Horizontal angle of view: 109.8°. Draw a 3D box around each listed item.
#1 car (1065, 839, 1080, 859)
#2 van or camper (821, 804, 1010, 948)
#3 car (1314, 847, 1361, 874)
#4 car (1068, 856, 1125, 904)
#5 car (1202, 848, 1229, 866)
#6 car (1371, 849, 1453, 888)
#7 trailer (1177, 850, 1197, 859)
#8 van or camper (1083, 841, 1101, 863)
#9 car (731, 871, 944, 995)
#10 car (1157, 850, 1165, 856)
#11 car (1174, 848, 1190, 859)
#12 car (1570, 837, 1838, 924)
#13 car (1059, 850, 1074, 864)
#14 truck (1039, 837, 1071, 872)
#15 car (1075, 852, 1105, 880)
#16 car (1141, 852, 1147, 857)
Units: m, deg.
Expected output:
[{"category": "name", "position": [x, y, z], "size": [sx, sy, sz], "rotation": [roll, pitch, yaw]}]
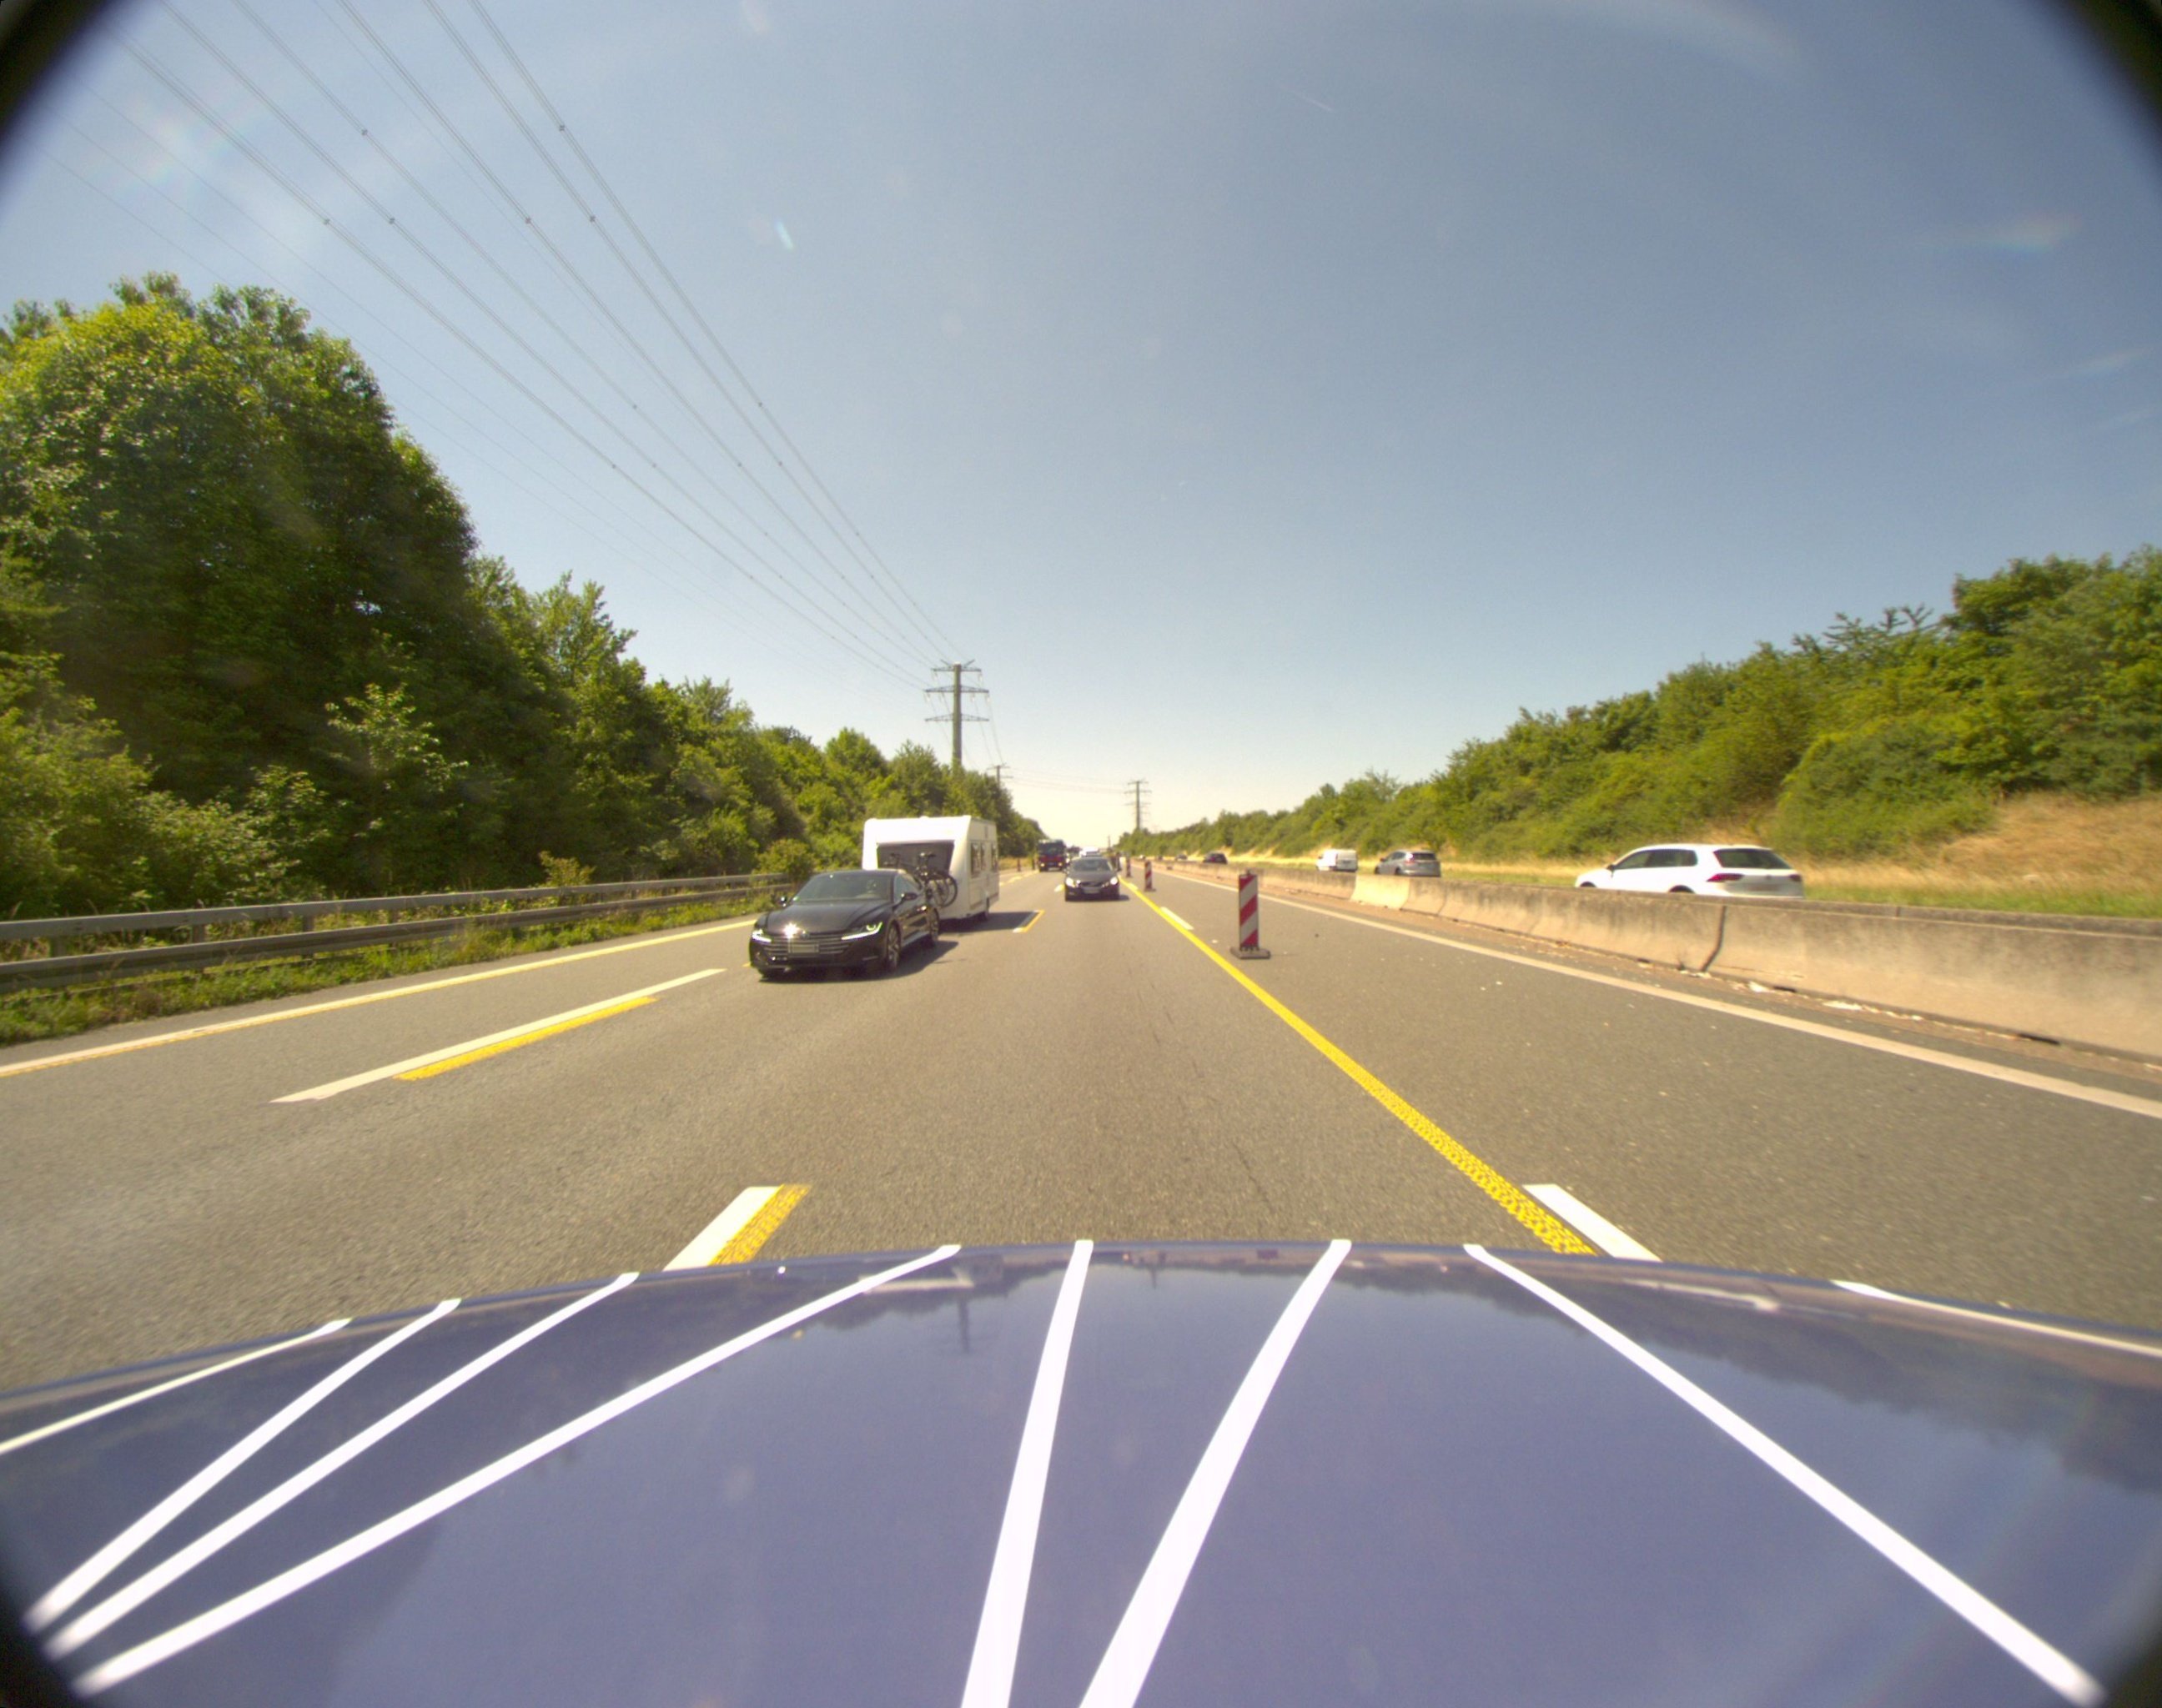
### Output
[{"category": "car", "position": [-1.662, -1.070, 154.590], "size": [2.397, 3.779, 10.273], "rotation": [-2, 0, 2]}, {"category": "van or camper", "position": [-3.403, 0.389, 18.008], "size": [2.432, 2.549, 8.417], "rotation": [-2, 0, 1]}, {"category": "car", "position": [20.223, 0.515, 60.163], "size": [1.935, 2.002, 5.596], "rotation": [0, 0, 1]}, {"category": "car", "position": [0.604, 0.843, 26.401], "size": [1.798, 1.433, 4.001], "rotation": [-2, 0, 3]}, {"category": "car", "position": [12.788, 0.268, 72.483], "size": [1.877, 1.684, 4.498], "rotation": [0, 0, 1]}, {"category": "car", "position": [15.958, 0.657, 36.941], "size": [1.998, 1.772, 4.622], "rotation": [0, 0, 1]}, {"category": "trailer", "position": [16.786, 0.077, 120.649], "size": [2.362, 1.336, 7.216], "rotation": [0, 0, 1]}, {"category": "van or camper", "position": [1.388, -0.221, 91.676], "size": [1.998, 2.604, 5.629], "rotation": [0, 0, 2]}, {"category": "car", "position": [-3.433, 1.038, 11.616], "size": [1.800, 1.399, 4.210], "rotation": [-2, 0, 1]}, {"category": "car", "position": [20.242, -0.240, 192.087], "size": [1.503, 1.539, 4.000], "rotation": [0, 0, 0]}, {"category": "car", "position": [16.799, -0.158, 126.614], "size": [1.918, 1.743, 4.565], "rotation": [-2, 0, 0]}, {"category": "car", "position": [12.342, 0.456, 15.529], "size": [1.915, 1.447, 4.356], "rotation": [-2, 0, 1]}, {"category": "car", "position": [-1.911, 0.349, 103.133], "size": [1.850, 1.810, 3.926], "rotation": [-2, 0, 1]}, {"category": "truck", "position": [-2.536, 0.029, 75.980], "size": [2.431, 3.122, 7.648], "rotation": [-4, 0, 3]}, {"category": "car", "position": [0.603, 0.740, 49.011], "size": [1.675, 1.619, 4.691], "rotation": [-3, 0, 3]}, {"category": "car", "position": [18.732, 0.006, 226.651], "size": [1.578, 1.456, 3.778], "rotation": [0, 0, 1]}]
